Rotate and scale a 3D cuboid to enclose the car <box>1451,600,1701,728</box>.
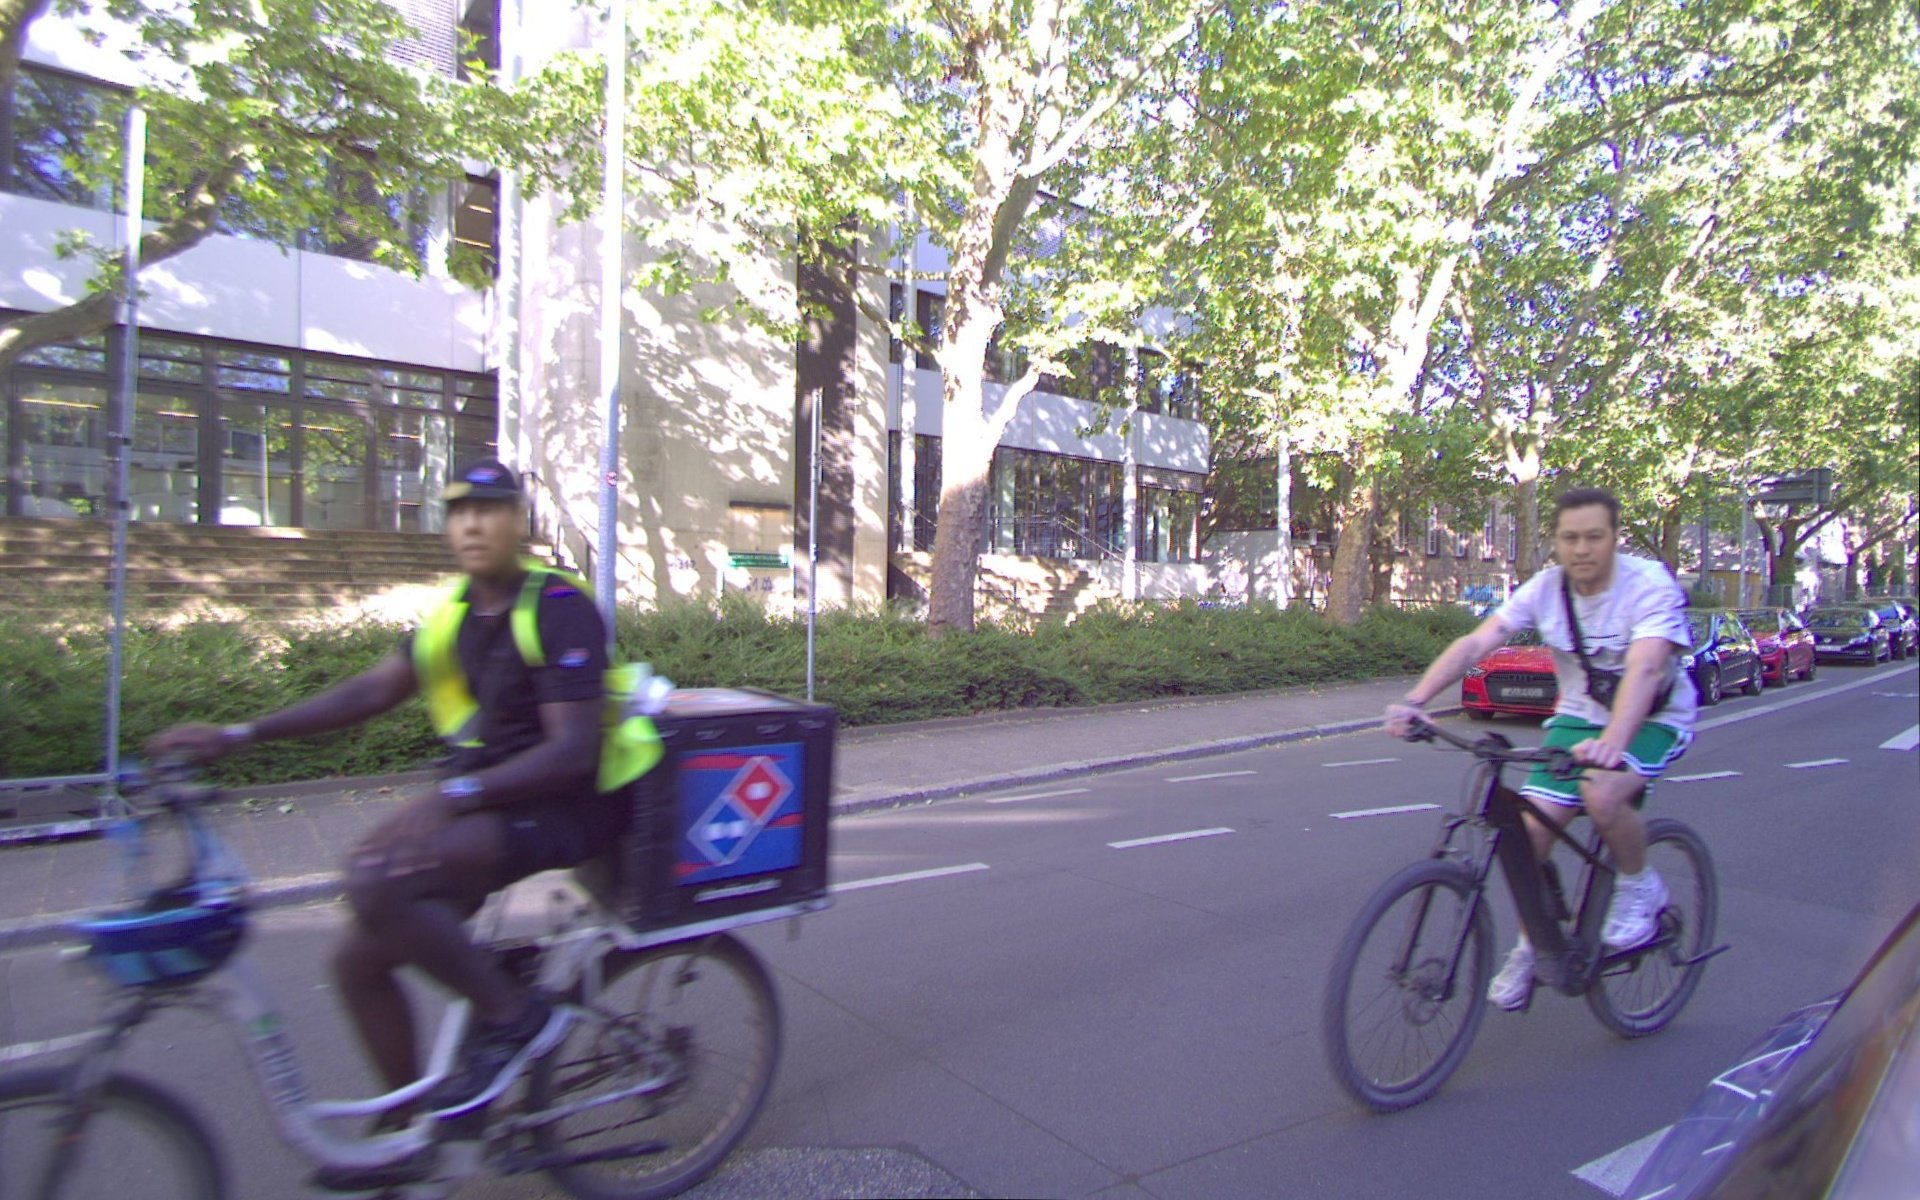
[{"bbox_3d":[8.305,0.735,13.516,3.931,1.409,1.792,-1,0,-42],"label":"car"}]

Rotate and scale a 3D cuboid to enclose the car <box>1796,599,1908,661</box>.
[{"bbox_3d":[22.952,0.709,25.988,3.855,1.441,1.691,-1,0,-41],"label":"car"}]

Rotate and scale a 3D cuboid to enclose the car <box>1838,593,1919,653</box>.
[{"bbox_3d":[26.638,0.601,29.045,4.158,1.598,1.632,-1,0,-41],"label":"car"}]

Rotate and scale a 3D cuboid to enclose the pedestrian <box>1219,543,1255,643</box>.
[{"bbox_3d":[5.713,-0.148,20.891,0.549,2.039,0.555,0,0,38],"label":"pedestrian"}]

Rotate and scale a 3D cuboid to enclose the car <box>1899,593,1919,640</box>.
[{"bbox_3d":[35.540,0.569,36.785,4.497,1.633,1.632,-1,0,-41],"label":"car"}]

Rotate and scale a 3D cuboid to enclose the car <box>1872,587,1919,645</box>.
[{"bbox_3d":[31.176,0.470,33.014,4.497,1.814,1.632,-1,0,-41],"label":"car"}]

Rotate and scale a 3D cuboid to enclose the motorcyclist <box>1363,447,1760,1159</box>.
[{"bbox_3d":[1.891,0.510,3.190,0.897,1.811,0.832,0,0,-41],"label":"motorcyclist"}]

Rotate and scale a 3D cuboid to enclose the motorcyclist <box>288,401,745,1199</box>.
[{"bbox_3d":[-0.974,0.545,2.206,0.738,1.765,0.718,0,0,-41],"label":"motorcyclist"}]

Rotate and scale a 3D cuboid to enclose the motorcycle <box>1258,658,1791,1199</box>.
[{"bbox_3d":[1.843,0.837,3.168,1.896,1.183,0.864,-1,0,-41],"label":"motorcycle"}]

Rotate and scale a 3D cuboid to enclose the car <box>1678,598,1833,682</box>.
[{"bbox_3d":[15.748,0.706,19.973,3.854,1.467,1.691,-1,0,-40],"label":"car"}]

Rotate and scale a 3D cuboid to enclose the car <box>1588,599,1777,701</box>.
[{"bbox_3d":[11.860,0.728,16.546,3.632,1.436,1.668,-1,0,-40],"label":"car"}]

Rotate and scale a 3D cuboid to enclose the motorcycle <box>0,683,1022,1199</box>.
[{"bbox_3d":[-0.923,0.858,2.285,2.197,1.146,0.798,-1,0,-41],"label":"motorcycle"}]
